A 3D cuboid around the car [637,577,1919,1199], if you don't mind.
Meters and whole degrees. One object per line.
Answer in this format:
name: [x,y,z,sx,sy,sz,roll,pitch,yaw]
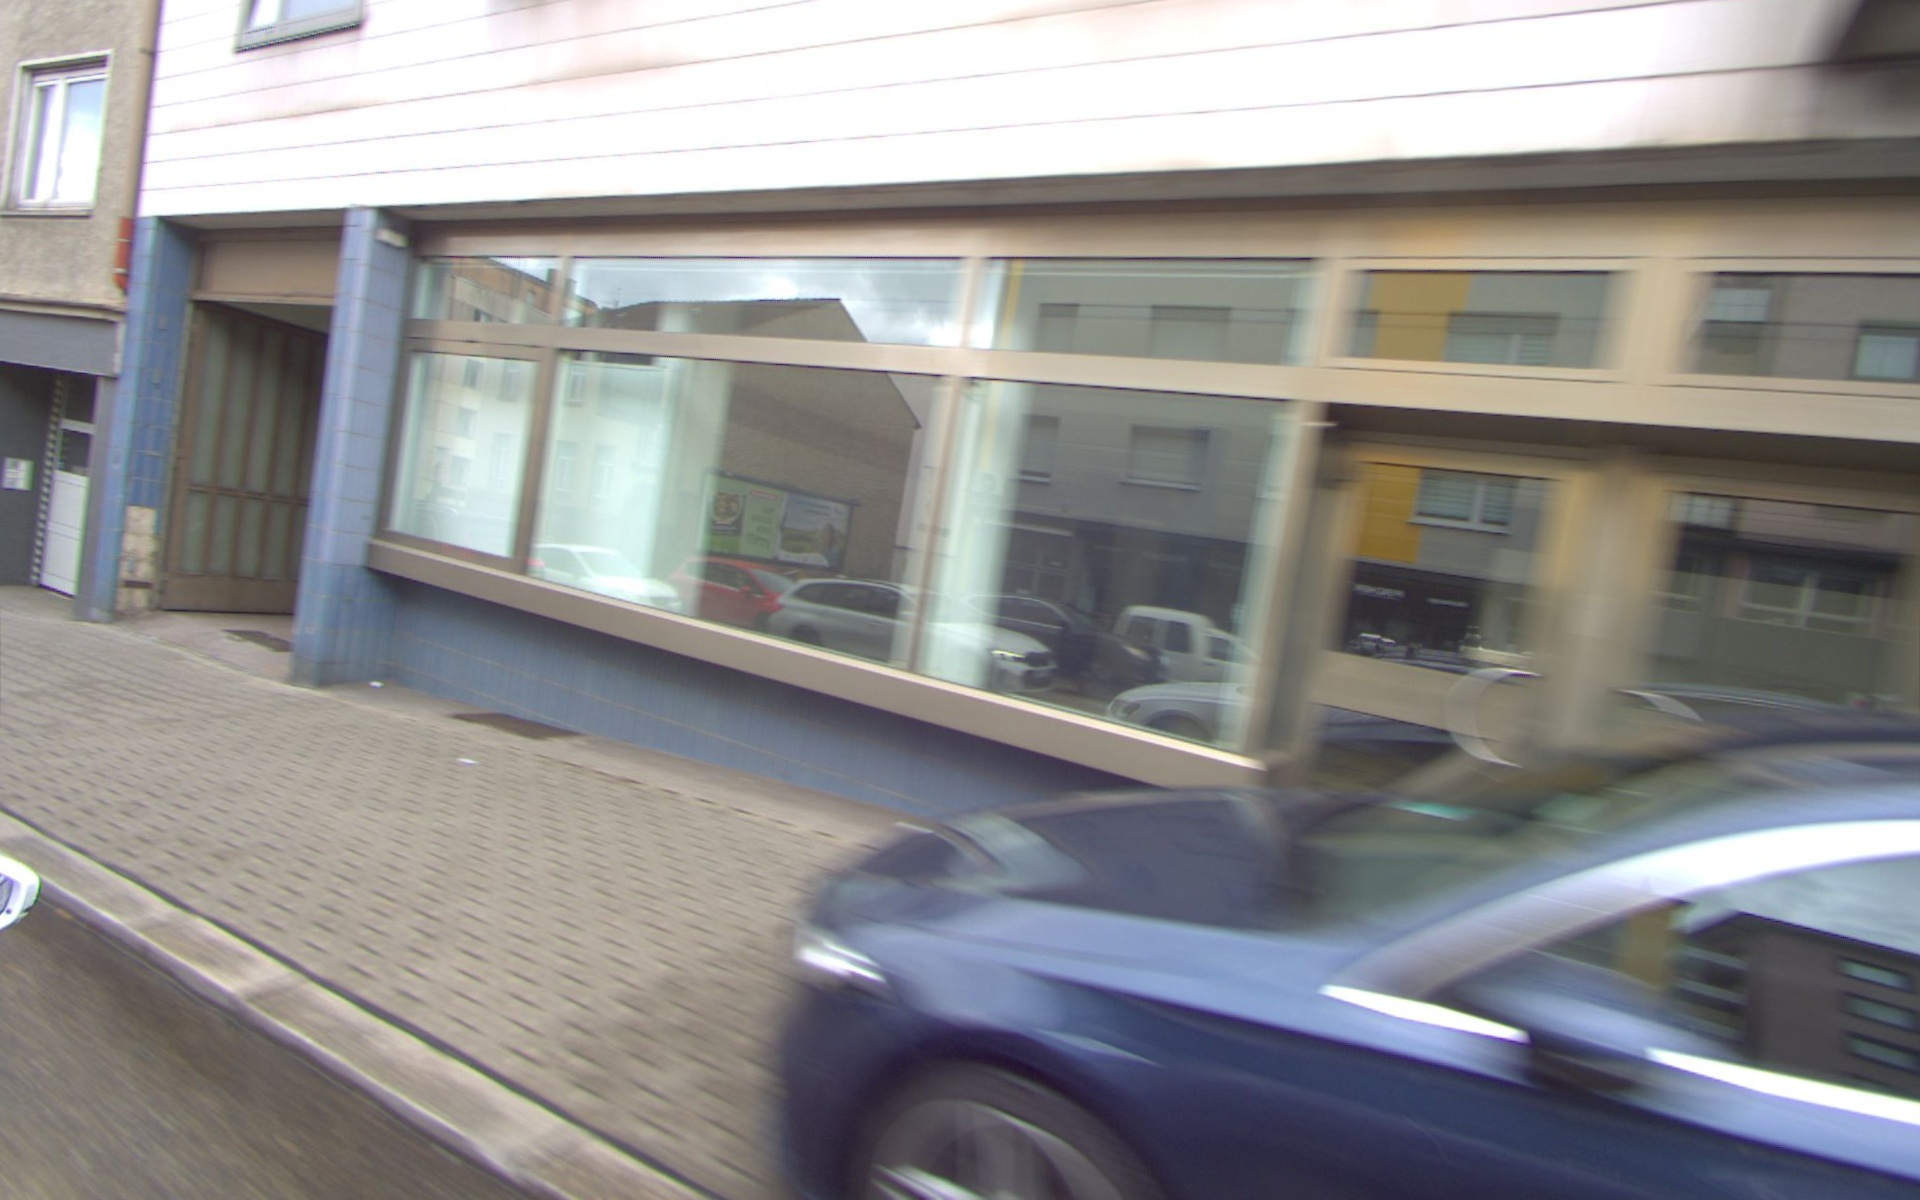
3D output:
car: [1.619,0.886,1.875,4.305,1.410,1.764,7,2,31]
